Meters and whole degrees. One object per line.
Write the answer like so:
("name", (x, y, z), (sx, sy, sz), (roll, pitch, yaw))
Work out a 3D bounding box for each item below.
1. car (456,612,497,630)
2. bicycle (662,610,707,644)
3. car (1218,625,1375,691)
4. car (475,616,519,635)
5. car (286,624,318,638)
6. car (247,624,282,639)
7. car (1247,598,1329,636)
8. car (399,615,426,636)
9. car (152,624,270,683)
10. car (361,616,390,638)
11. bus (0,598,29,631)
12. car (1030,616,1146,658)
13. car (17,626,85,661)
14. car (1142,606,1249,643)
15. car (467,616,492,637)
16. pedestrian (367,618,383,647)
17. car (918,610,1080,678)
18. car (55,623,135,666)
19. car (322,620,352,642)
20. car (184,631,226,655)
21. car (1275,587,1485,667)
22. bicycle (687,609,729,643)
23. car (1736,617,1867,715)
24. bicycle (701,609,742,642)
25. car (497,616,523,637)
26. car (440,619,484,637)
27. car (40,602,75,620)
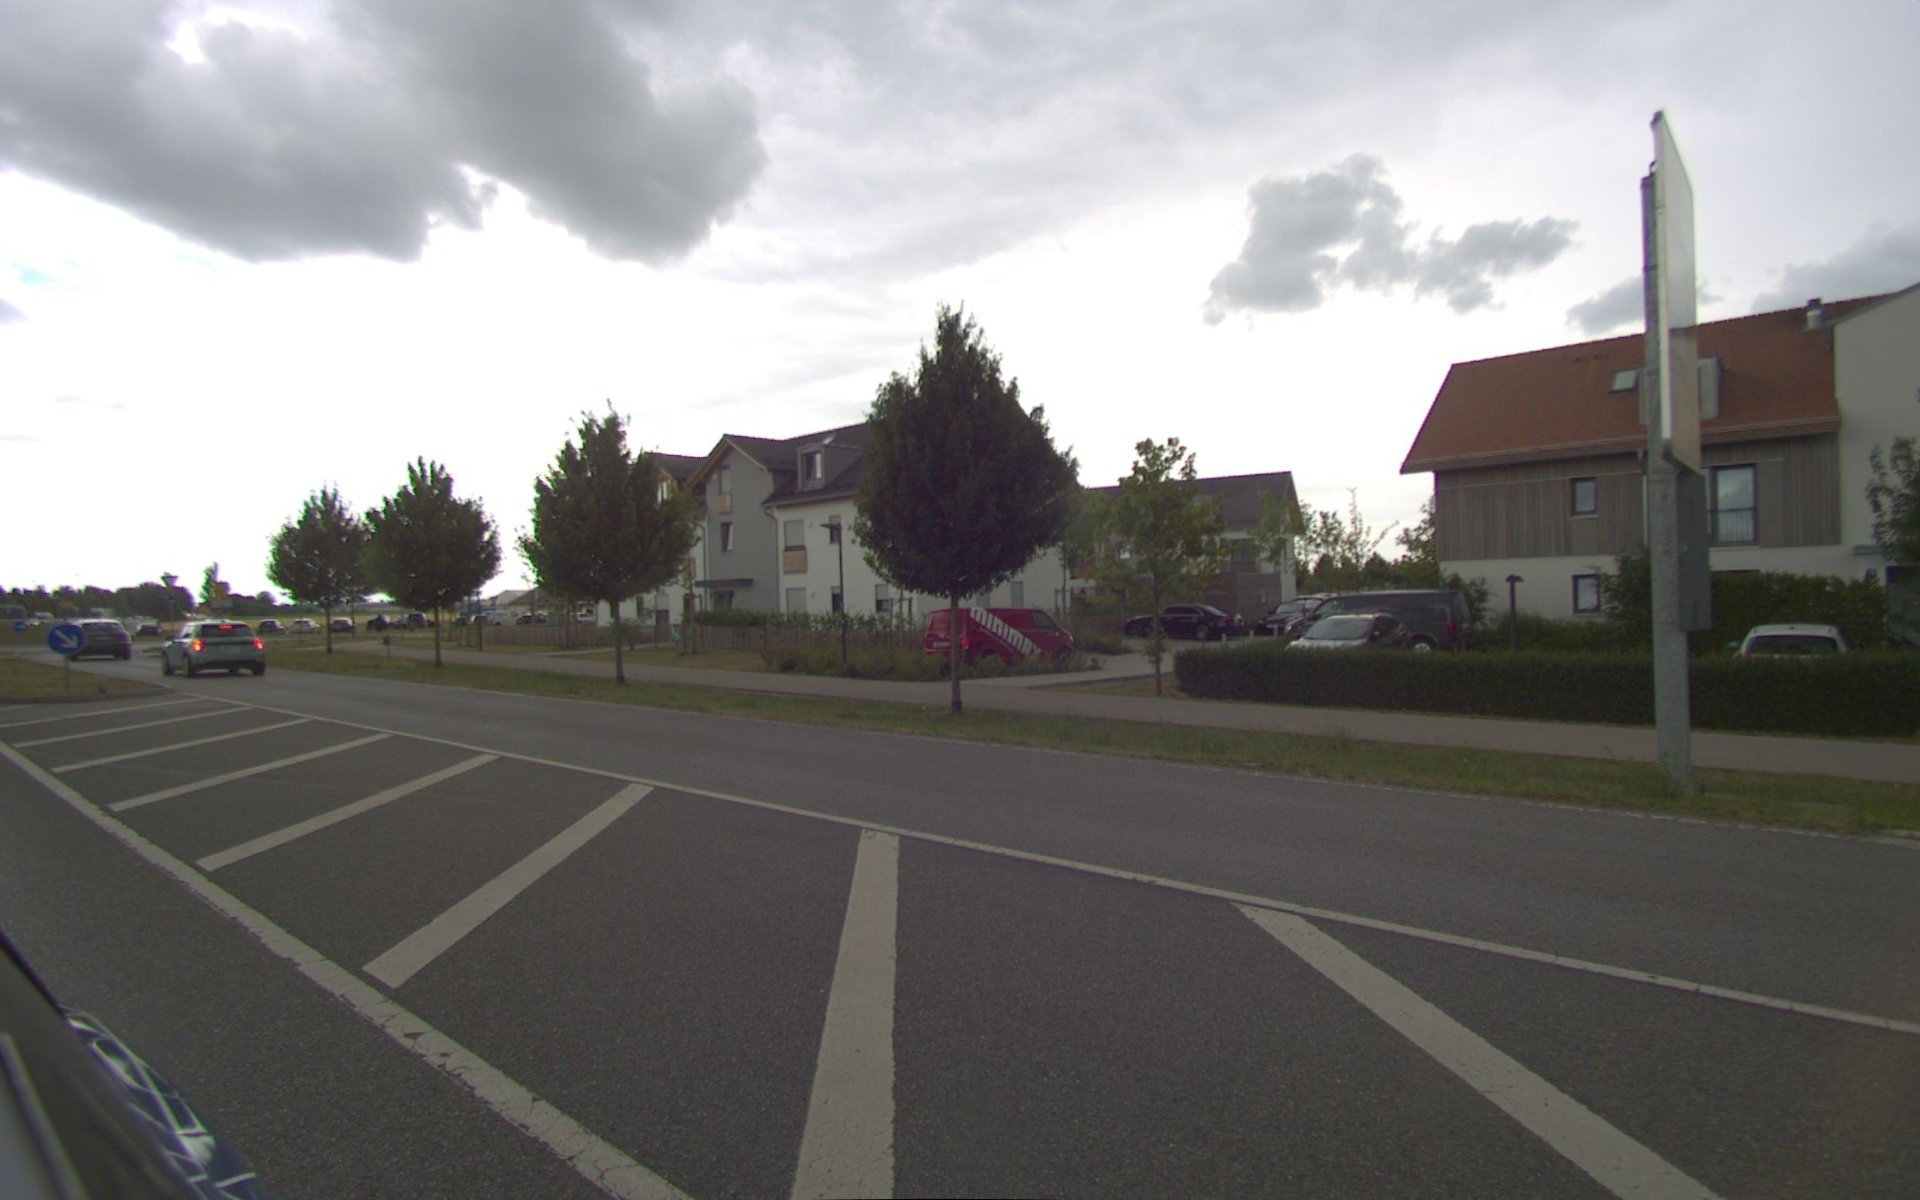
("car", (-56.289, 2.473, 117.946), (1.991, 2.029, 3.961), (-1, -2, 29))
("bicycle", (-11.804, 1.169, 43.346), (2.342, 1.423, 0.675), (-2, -2, 41))
("car", (8.433, 1.376, 25.102), (1.906, 1.441, 4.853), (-2, -2, 42))
("car", (-51.333, 2.853, 112.249), (1.994, 2.029, 3.956), (-2, -2, 32))
("car", (-61.581, 2.912, 94.755), (1.965, 1.298, 4.013), (0, -2, -24))
("car", (-64.402, 2.915, 93.746), (1.965, 1.298, 4.013), (0, -2, -24))
("car", (14.691, 0.761, 45.275), (2.000, 1.598, 3.943), (-2, -2, 43))
("car", (-53.044, 2.473, 98.082), (1.966, 2.029, 4.011), (0, -2, -34))
("car", (-20.189, 1.398, 27.237), (3.998, 1.455, 1.751), (-2, -2, 41))
("car", (-55.991, 2.554, 97.010), (1.965, 2.029, 4.013), (0, -2, -24))
("bus", (-98.496, 1.538, 104.535), (6.484, 3.305, 2.951), (-2, -2, 43))
("car", (4.831, 1.390, 38.499), (3.998, 1.519, 1.972), (-2, -2, 41))
("car", (-41.387, 1.946, 46.059), (4.348, 1.500, 1.806), (-2, -2, 42))
("car", (10.091, 1.063, 43.499), (3.998, 1.519, 1.972), (-2, -2, 41))
("car", (-48.813, 2.721, 102.923), (1.965, 2.029, 4.013), (0, -2, -21))
("pedestrian", (-32.025, 1.761, 55.367), (0.586, 1.541, 0.540), (-2, 1, 41))
("car", (1.219, 1.223, 29.591), (4.847, 1.830, 1.908), (1, -2, -44))
("car", (-33.815, 1.721, 39.547), (4.214, 1.594, 1.806), (-2, -2, 42))
("car", (-59.133, 2.923, 96.137), (1.965, 2.029, 4.013), (0, -2, -24))
("car", (-49.071, 2.757, 65.740), (1.803, 1.500, 4.220), (1, -2, -42))
("car", (12.101, 0.769, 29.437), (5.202, 2.028, 1.972), (-2, 2, 44))
("bicycle", (-10.954, 1.137, 43.937), (2.093, 1.428, 0.675), (-2, -2, 41))
("car", (14.446, 1.055, 17.378), (1.562, 1.500, 3.478), (-2, -2, 41))
("bicycle", (-10.495, 1.139, 44.507), (2.093, 1.439, 0.675), (-2, -2, 41))
("car", (-45.846, 2.695, 103.106), (2.194, 2.029, 4.013), (0, -2, -21))
("car", (-55.196, 3.110, 112.230), (1.991, 2.029, 3.961), (-1, -2, 29))
("car", (-77.355, 0.927, 86.740), (3.998, 1.455, 1.751), (-2, -2, 41))
